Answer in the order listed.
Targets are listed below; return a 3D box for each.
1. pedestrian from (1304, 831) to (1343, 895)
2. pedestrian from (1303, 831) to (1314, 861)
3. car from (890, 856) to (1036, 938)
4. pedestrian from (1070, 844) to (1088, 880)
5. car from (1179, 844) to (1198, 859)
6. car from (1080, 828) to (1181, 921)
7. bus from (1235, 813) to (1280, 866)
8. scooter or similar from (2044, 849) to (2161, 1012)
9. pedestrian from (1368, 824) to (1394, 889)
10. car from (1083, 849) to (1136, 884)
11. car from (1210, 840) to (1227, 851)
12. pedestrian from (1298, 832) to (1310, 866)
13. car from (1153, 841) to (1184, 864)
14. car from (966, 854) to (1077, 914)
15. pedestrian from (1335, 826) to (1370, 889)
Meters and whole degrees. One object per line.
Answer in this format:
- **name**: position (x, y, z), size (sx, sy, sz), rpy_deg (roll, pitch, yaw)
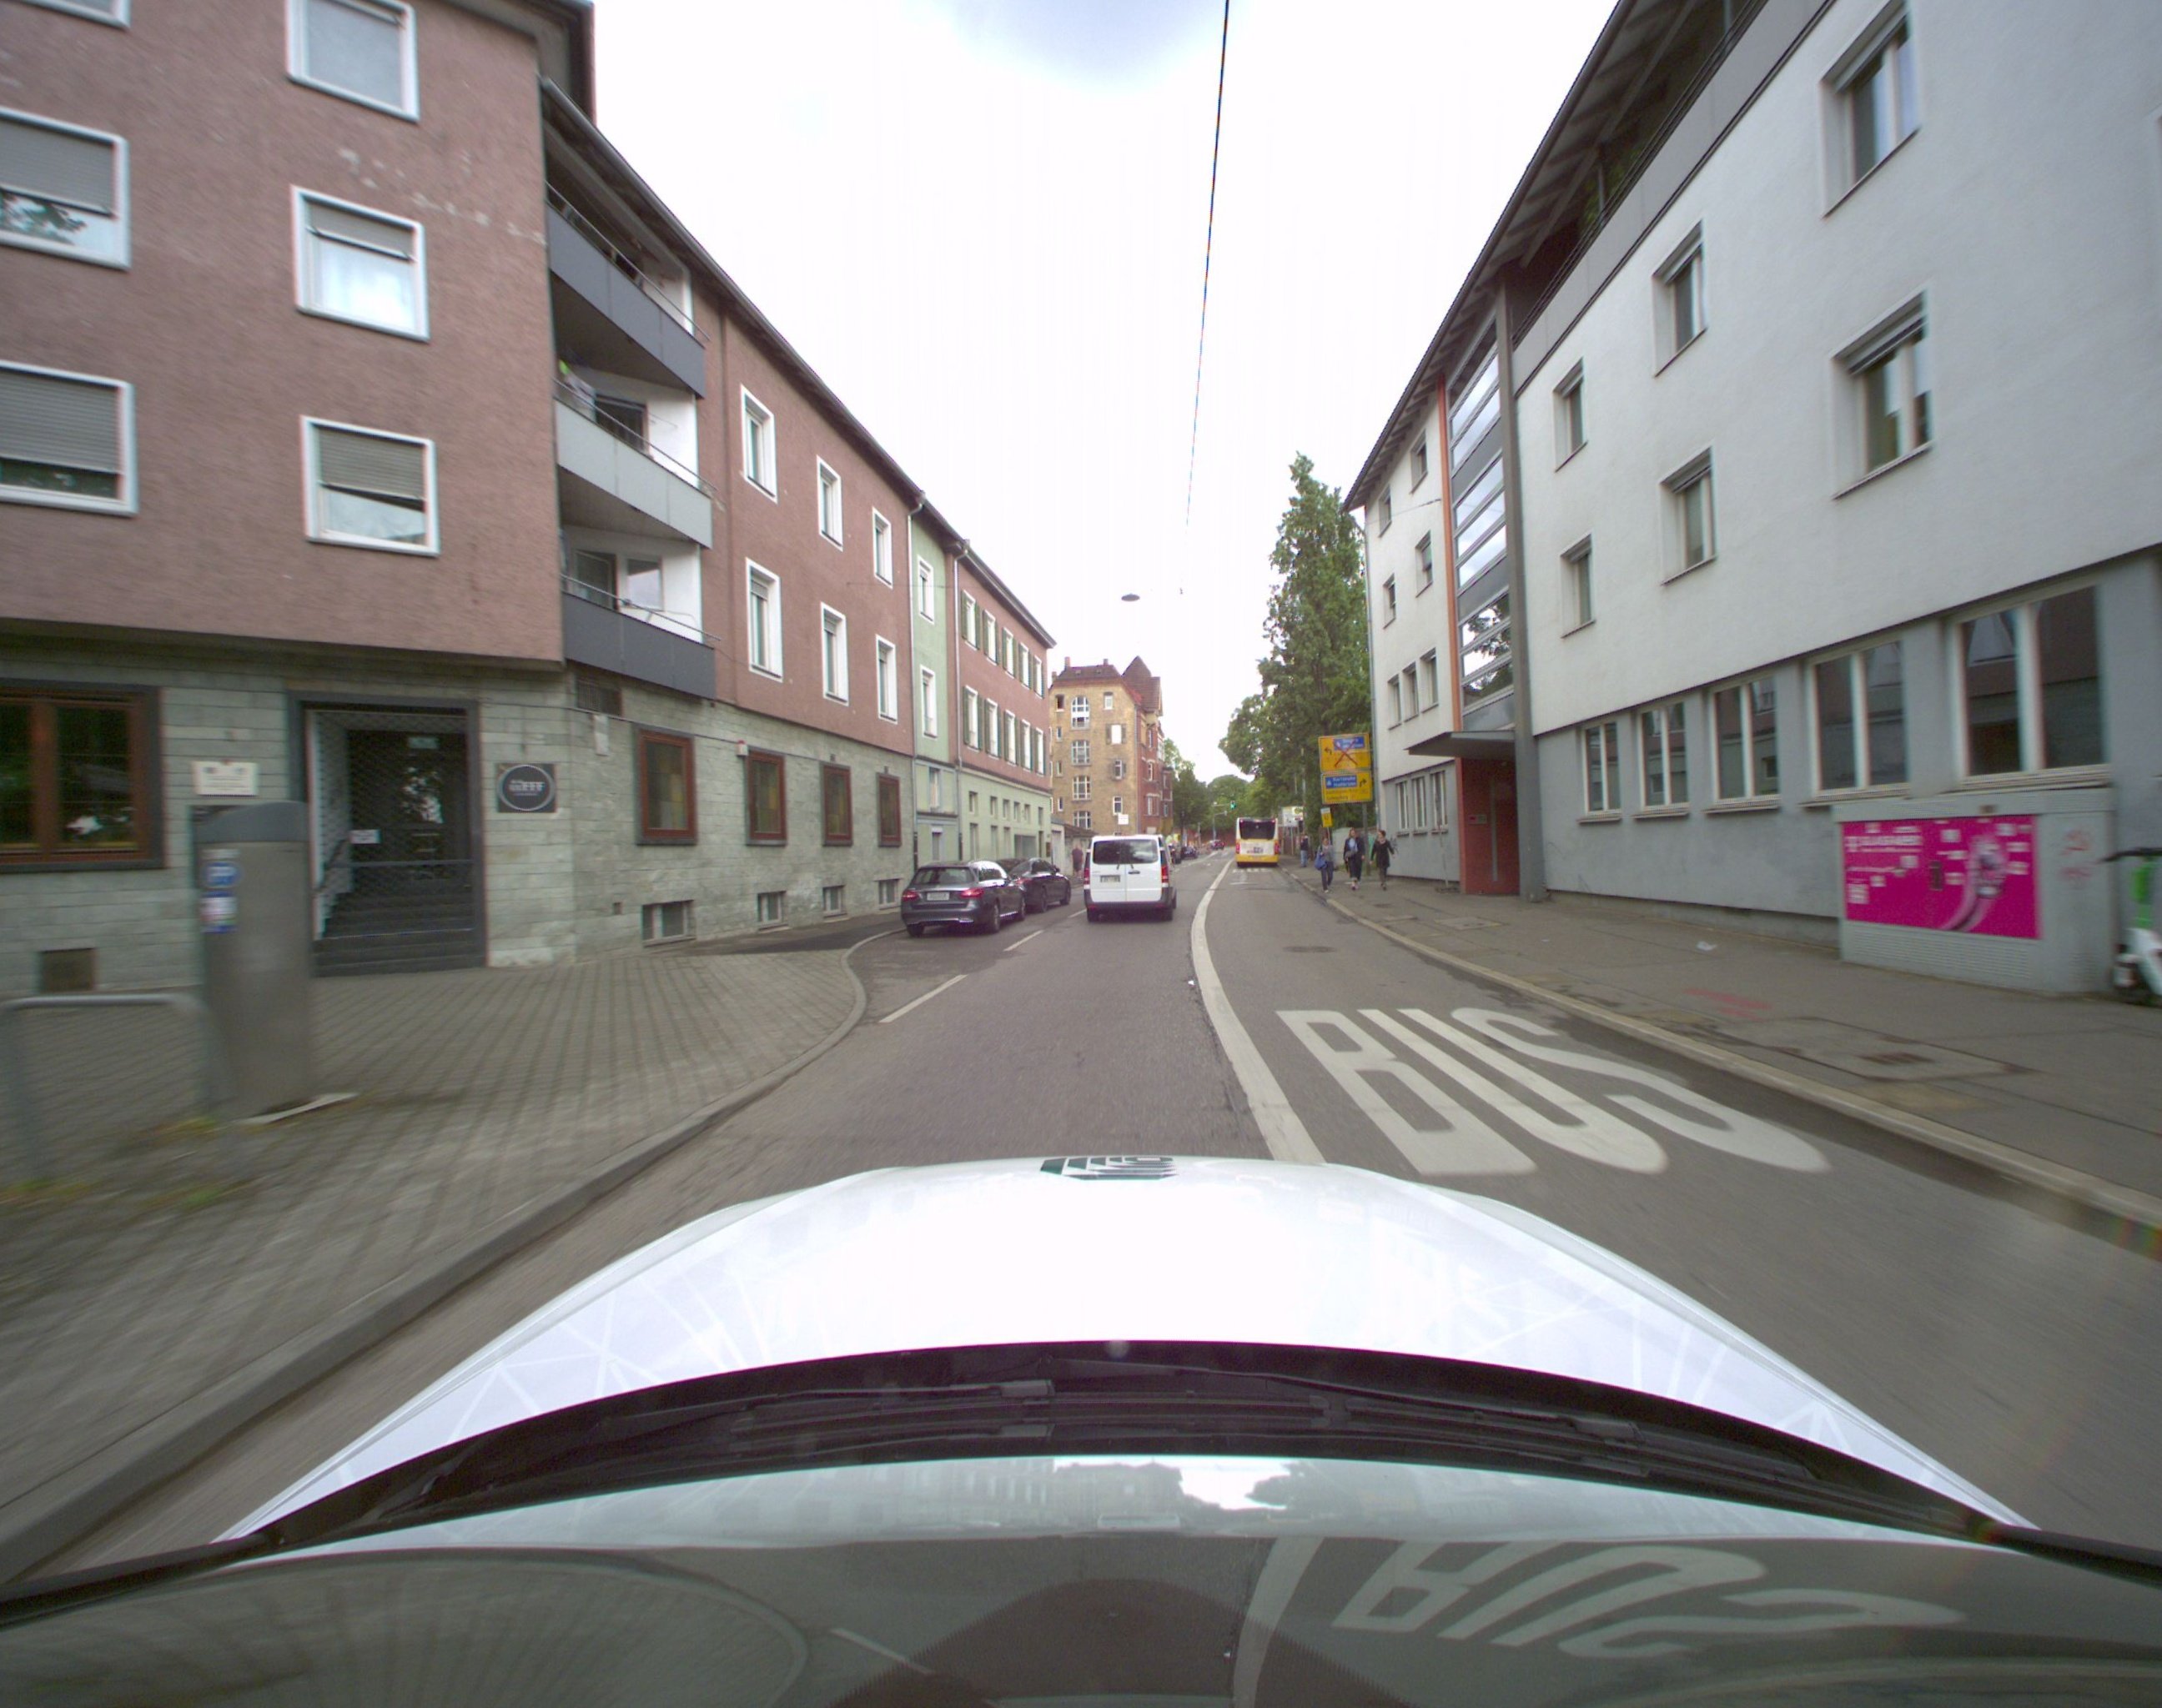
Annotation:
- **pedestrian**: position (7.105, 0.252, 23.919), size (0.799, 1.793, 0.944), rpy_deg (-4, 1, 5)
- **pedestrian**: position (13.897, -0.489, 49.783), size (0.447, 1.778, 0.674), rpy_deg (-5, -1, 11)
- **car**: position (-2.302, 0.807, 17.239), size (1.819, 1.455, 4.594), rpy_deg (-2, 0, 7)
- **pedestrian**: position (-0.090, 0.386, 40.608), size (0.756, 1.744, 0.987), rpy_deg (0, 0, 9)
- **car**: position (12.101, -0.337, 91.417), size (1.713, 1.485, 4.407), rpy_deg (-1, 2, 13)
- **car**: position (1.308, 0.460, 19.173), size (1.906, 1.901, 4.713), rpy_deg (1, -1, 9)
- **bus**: position (11.571, -0.953, 53.553), size (2.645, 3.136, 10.074), rpy_deg (0, 1, 12)
- **scooter or similar**: position (7.631, 0.532, 5.564), size (0.426, 1.097, 1.441), rpy_deg (-4, 0, 5)
- **pedestrian**: position (8.339, 0.064, 22.636), size (0.538, 1.756, 0.611), rpy_deg (-4, 1, 18)
- **car**: position (1.409, 0.548, 38.874), size (1.866, 1.486, 4.141), rpy_deg (0, 1, 11)
- **car**: position (21.459, -1.317, 126.814), size (2.029, 1.485, 4.393), rpy_deg (-2, 2, 2)
- **pedestrian**: position (12.017, -0.274, 43.896), size (0.578, 1.779, 0.824), rpy_deg (0, 0, 11)
- **car**: position (7.050, -0.142, 65.428), size (1.941, 1.733, 4.789), rpy_deg (-2, 1, 12)
- **car**: position (-1.508, 0.757, 22.794), size (1.817, 1.455, 4.936), rpy_deg (-2, 0, 11)
- **pedestrian**: position (7.947, 0.091, 23.832), size (0.683, 1.756, 0.879), rpy_deg (-4, 1, 5)
